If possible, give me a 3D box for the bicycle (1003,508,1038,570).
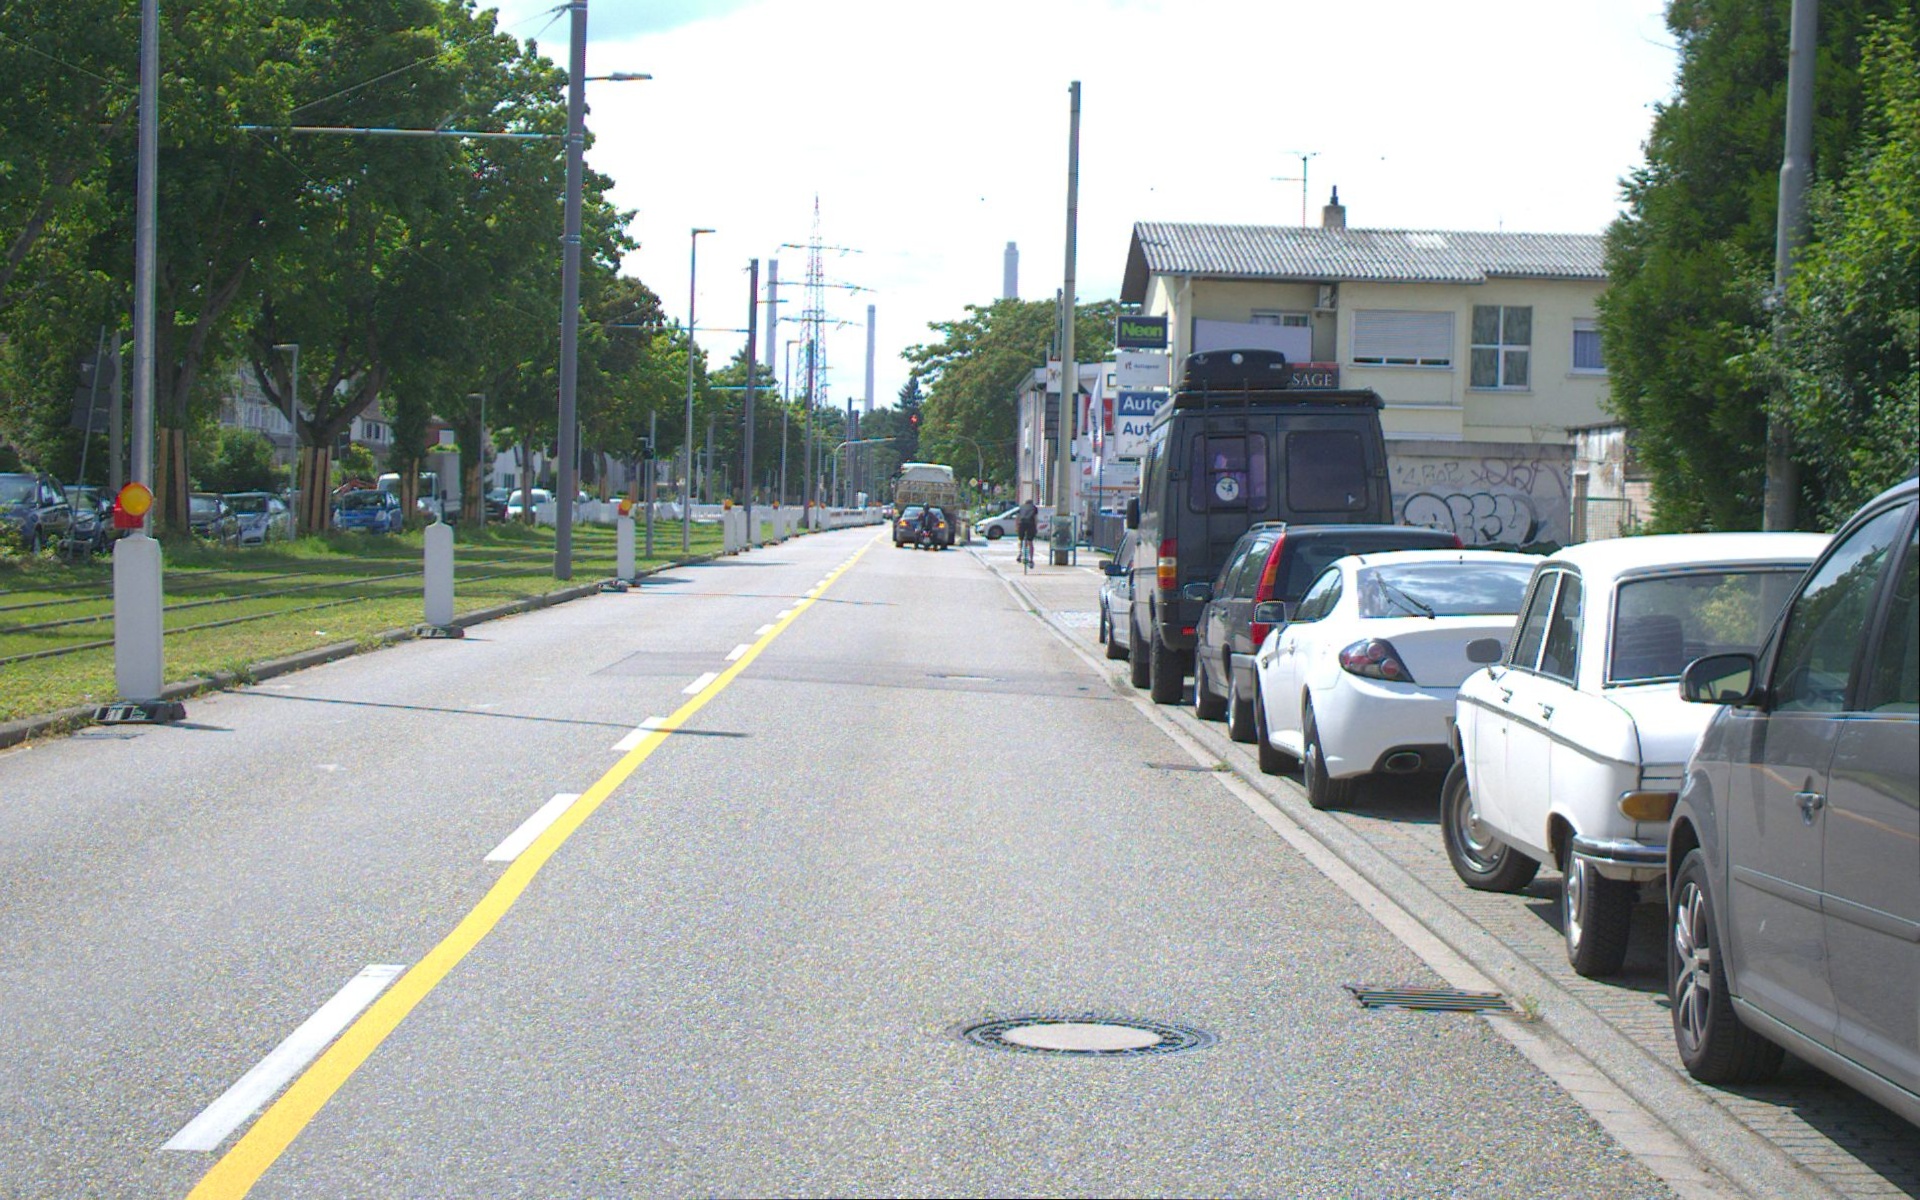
[{"bbox_3d":[1.393,-1.414,79.026,0.693,1.357,2.419,2,2,-1],"label":"bicycle"}]

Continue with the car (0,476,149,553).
[{"bbox_3d":[-17.053,-1.631,66.141,1.993,1.434,4.000,0,1,-1],"label":"car"}]

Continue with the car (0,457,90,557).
[{"bbox_3d":[-16.722,-1.625,60.395,1.993,1.685,4.393,1,1,-4],"label":"car"}]

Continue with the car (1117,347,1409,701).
[{"bbox_3d":[2.487,-0.657,29.400,1.996,2.751,4.879,1,1,0],"label":"car"}]

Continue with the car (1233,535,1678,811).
[{"bbox_3d":[2.565,0.315,18.727,1.721,1.291,4.129,1,1,-1],"label":"car"}]

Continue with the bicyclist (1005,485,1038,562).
[{"bbox_3d":[1.403,-1.751,78.995,0.671,1.738,0.814,2,1,-1],"label":"bicyclist"}]

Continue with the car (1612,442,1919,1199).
[{"bbox_3d":[2.727,0.491,7.554,1.679,1.624,4.271,1,1,-1],"label":"car"}]

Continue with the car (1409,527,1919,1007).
[{"bbox_3d":[2.704,0.464,12.345,1.649,1.413,4.026,1,1,0],"label":"car"}]

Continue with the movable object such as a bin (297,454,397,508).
[{"bbox_3d":[-29.218,-5.686,163.806,4.334,2.441,1.789,1,2,-22],"label":"movable object such as a bin"}]

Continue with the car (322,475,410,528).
[{"bbox_3d":[-17.152,-2.835,99.421,1.993,1.448,4.001,1,1,-2],"label":"car"}]

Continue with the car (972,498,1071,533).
[{"bbox_3d":[2.880,-3.940,160.604,4.329,1.546,1.950,1,1,-8],"label":"car"}]

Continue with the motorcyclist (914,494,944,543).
[{"bbox_3d":[-1.071,-2.815,118.497,0.939,1.609,1.205,4,1,0],"label":"motorcyclist"}]

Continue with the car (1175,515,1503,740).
[{"bbox_3d":[2.550,0.113,24.187,1.721,1.397,4.837,1,1,0],"label":"car"}]

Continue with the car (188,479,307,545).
[{"bbox_3d":[-16.949,-2.084,81.984,1.805,1.477,4.940,1,1,0],"label":"car"}]

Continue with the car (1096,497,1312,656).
[{"bbox_3d":[2.462,-0.267,35.612,1.691,1.511,4.357,1,1,-3],"label":"car"}]

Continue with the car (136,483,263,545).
[{"bbox_3d":[-16.855,-1.905,76.333,1.993,1.313,3.853,-1,1,-1],"label":"car"}]

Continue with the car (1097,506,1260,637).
[{"bbox_3d":[2.509,-0.352,40.308,1.651,1.426,4.097,1,1,0],"label":"car"}]

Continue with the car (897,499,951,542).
[{"bbox_3d":[-1.291,-2.854,123.154,1.821,1.419,4.000,3,2,0],"label":"car"}]

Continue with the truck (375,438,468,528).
[{"bbox_3d":[-17.253,-3.759,110.463,1.993,2.758,6.277,-1,2,-1],"label":"truck"}]

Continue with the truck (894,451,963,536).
[{"bbox_3d":[-1.242,-4.385,139.455,2.610,3.244,9.183,1,3,0],"label":"truck"}]

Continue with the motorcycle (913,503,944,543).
[{"bbox_3d":[-1.086,-2.667,118.682,0.939,1.316,2.645,4,1,-1],"label":"motorcycle"}]
